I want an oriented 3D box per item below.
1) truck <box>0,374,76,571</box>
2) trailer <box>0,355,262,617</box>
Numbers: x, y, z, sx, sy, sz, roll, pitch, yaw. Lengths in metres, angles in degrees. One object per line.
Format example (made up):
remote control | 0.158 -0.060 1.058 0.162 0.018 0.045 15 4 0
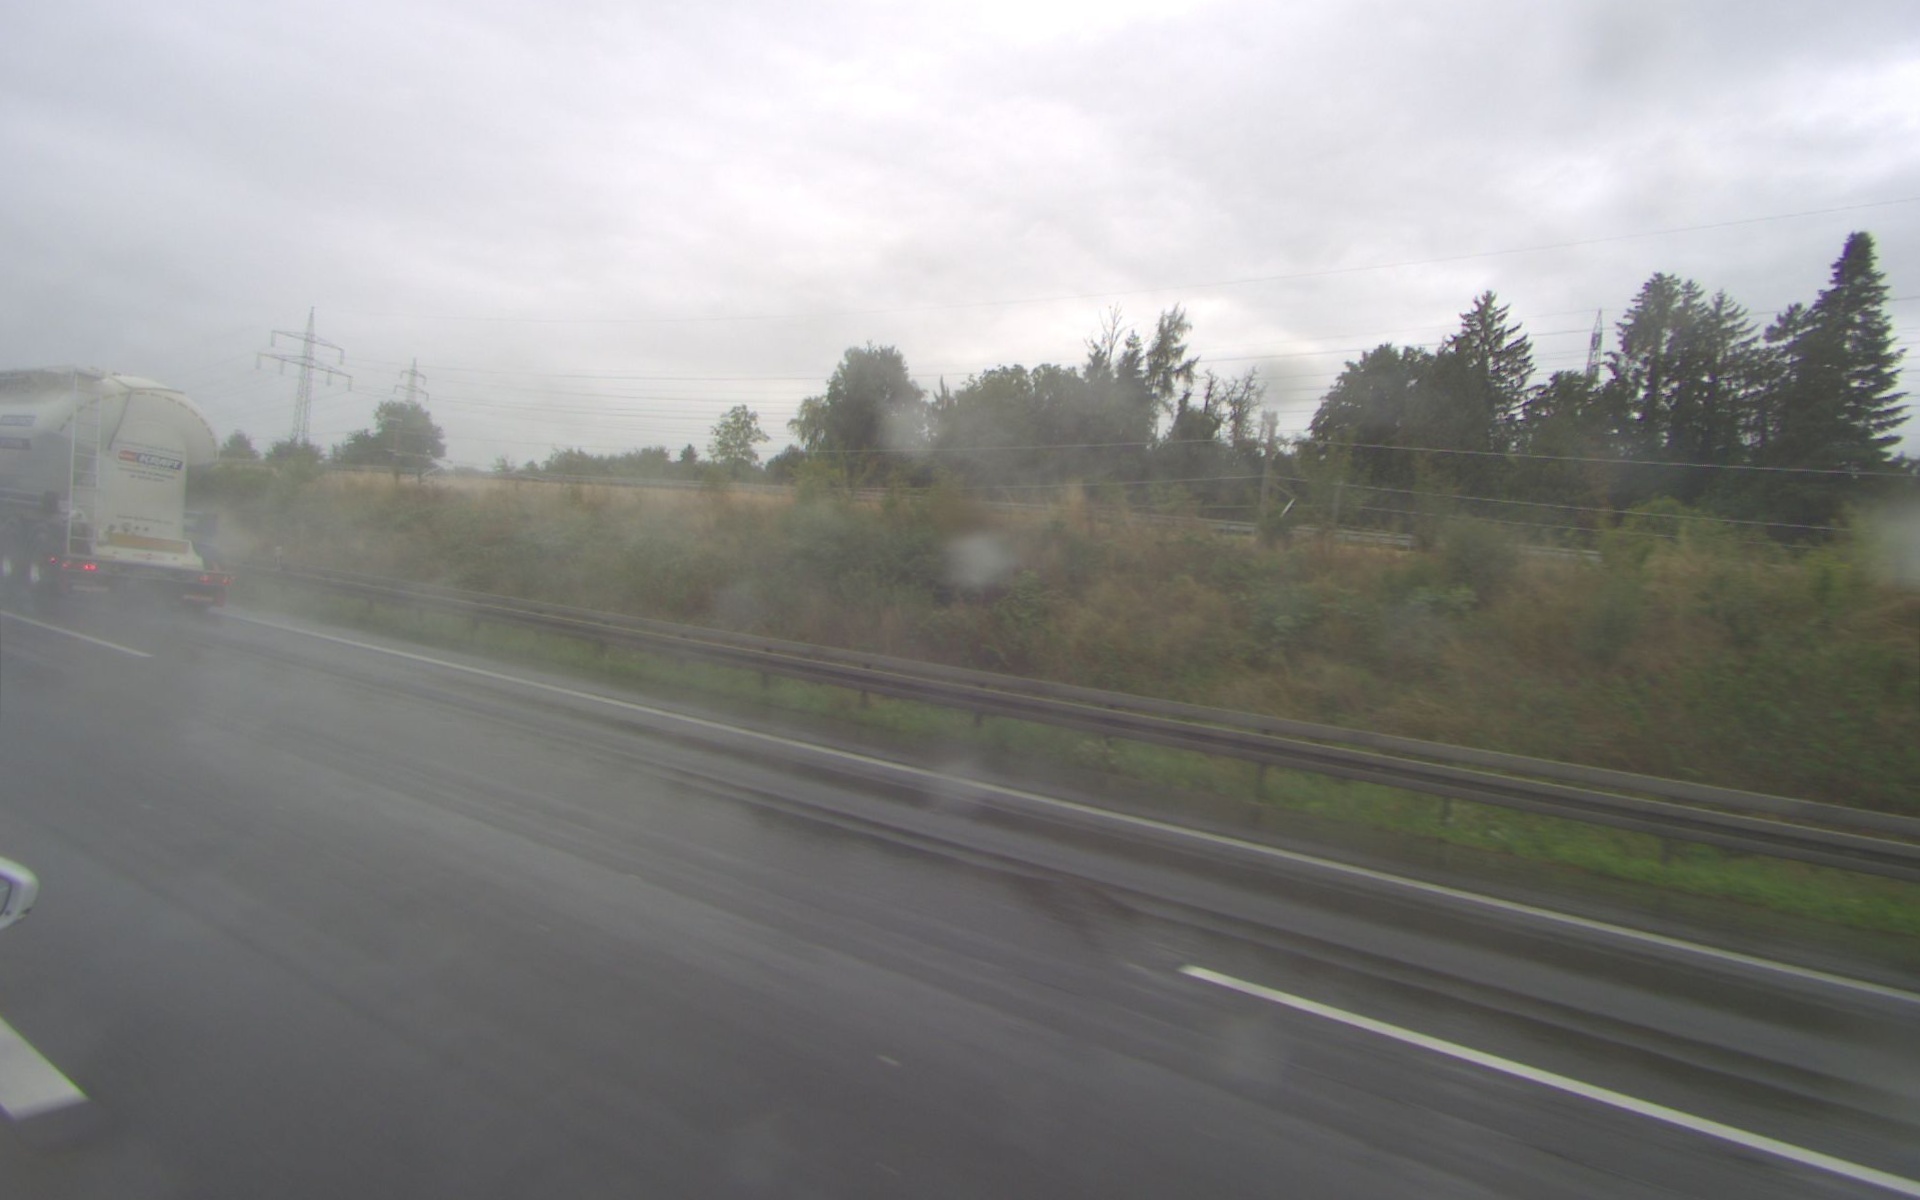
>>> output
truck | -22.571 -3.021 22.462 4.990 4.030 2.502 7 -1 31
trailer | -17.935 -2.344 19.627 10.880 3.928 2.502 7 -1 31
